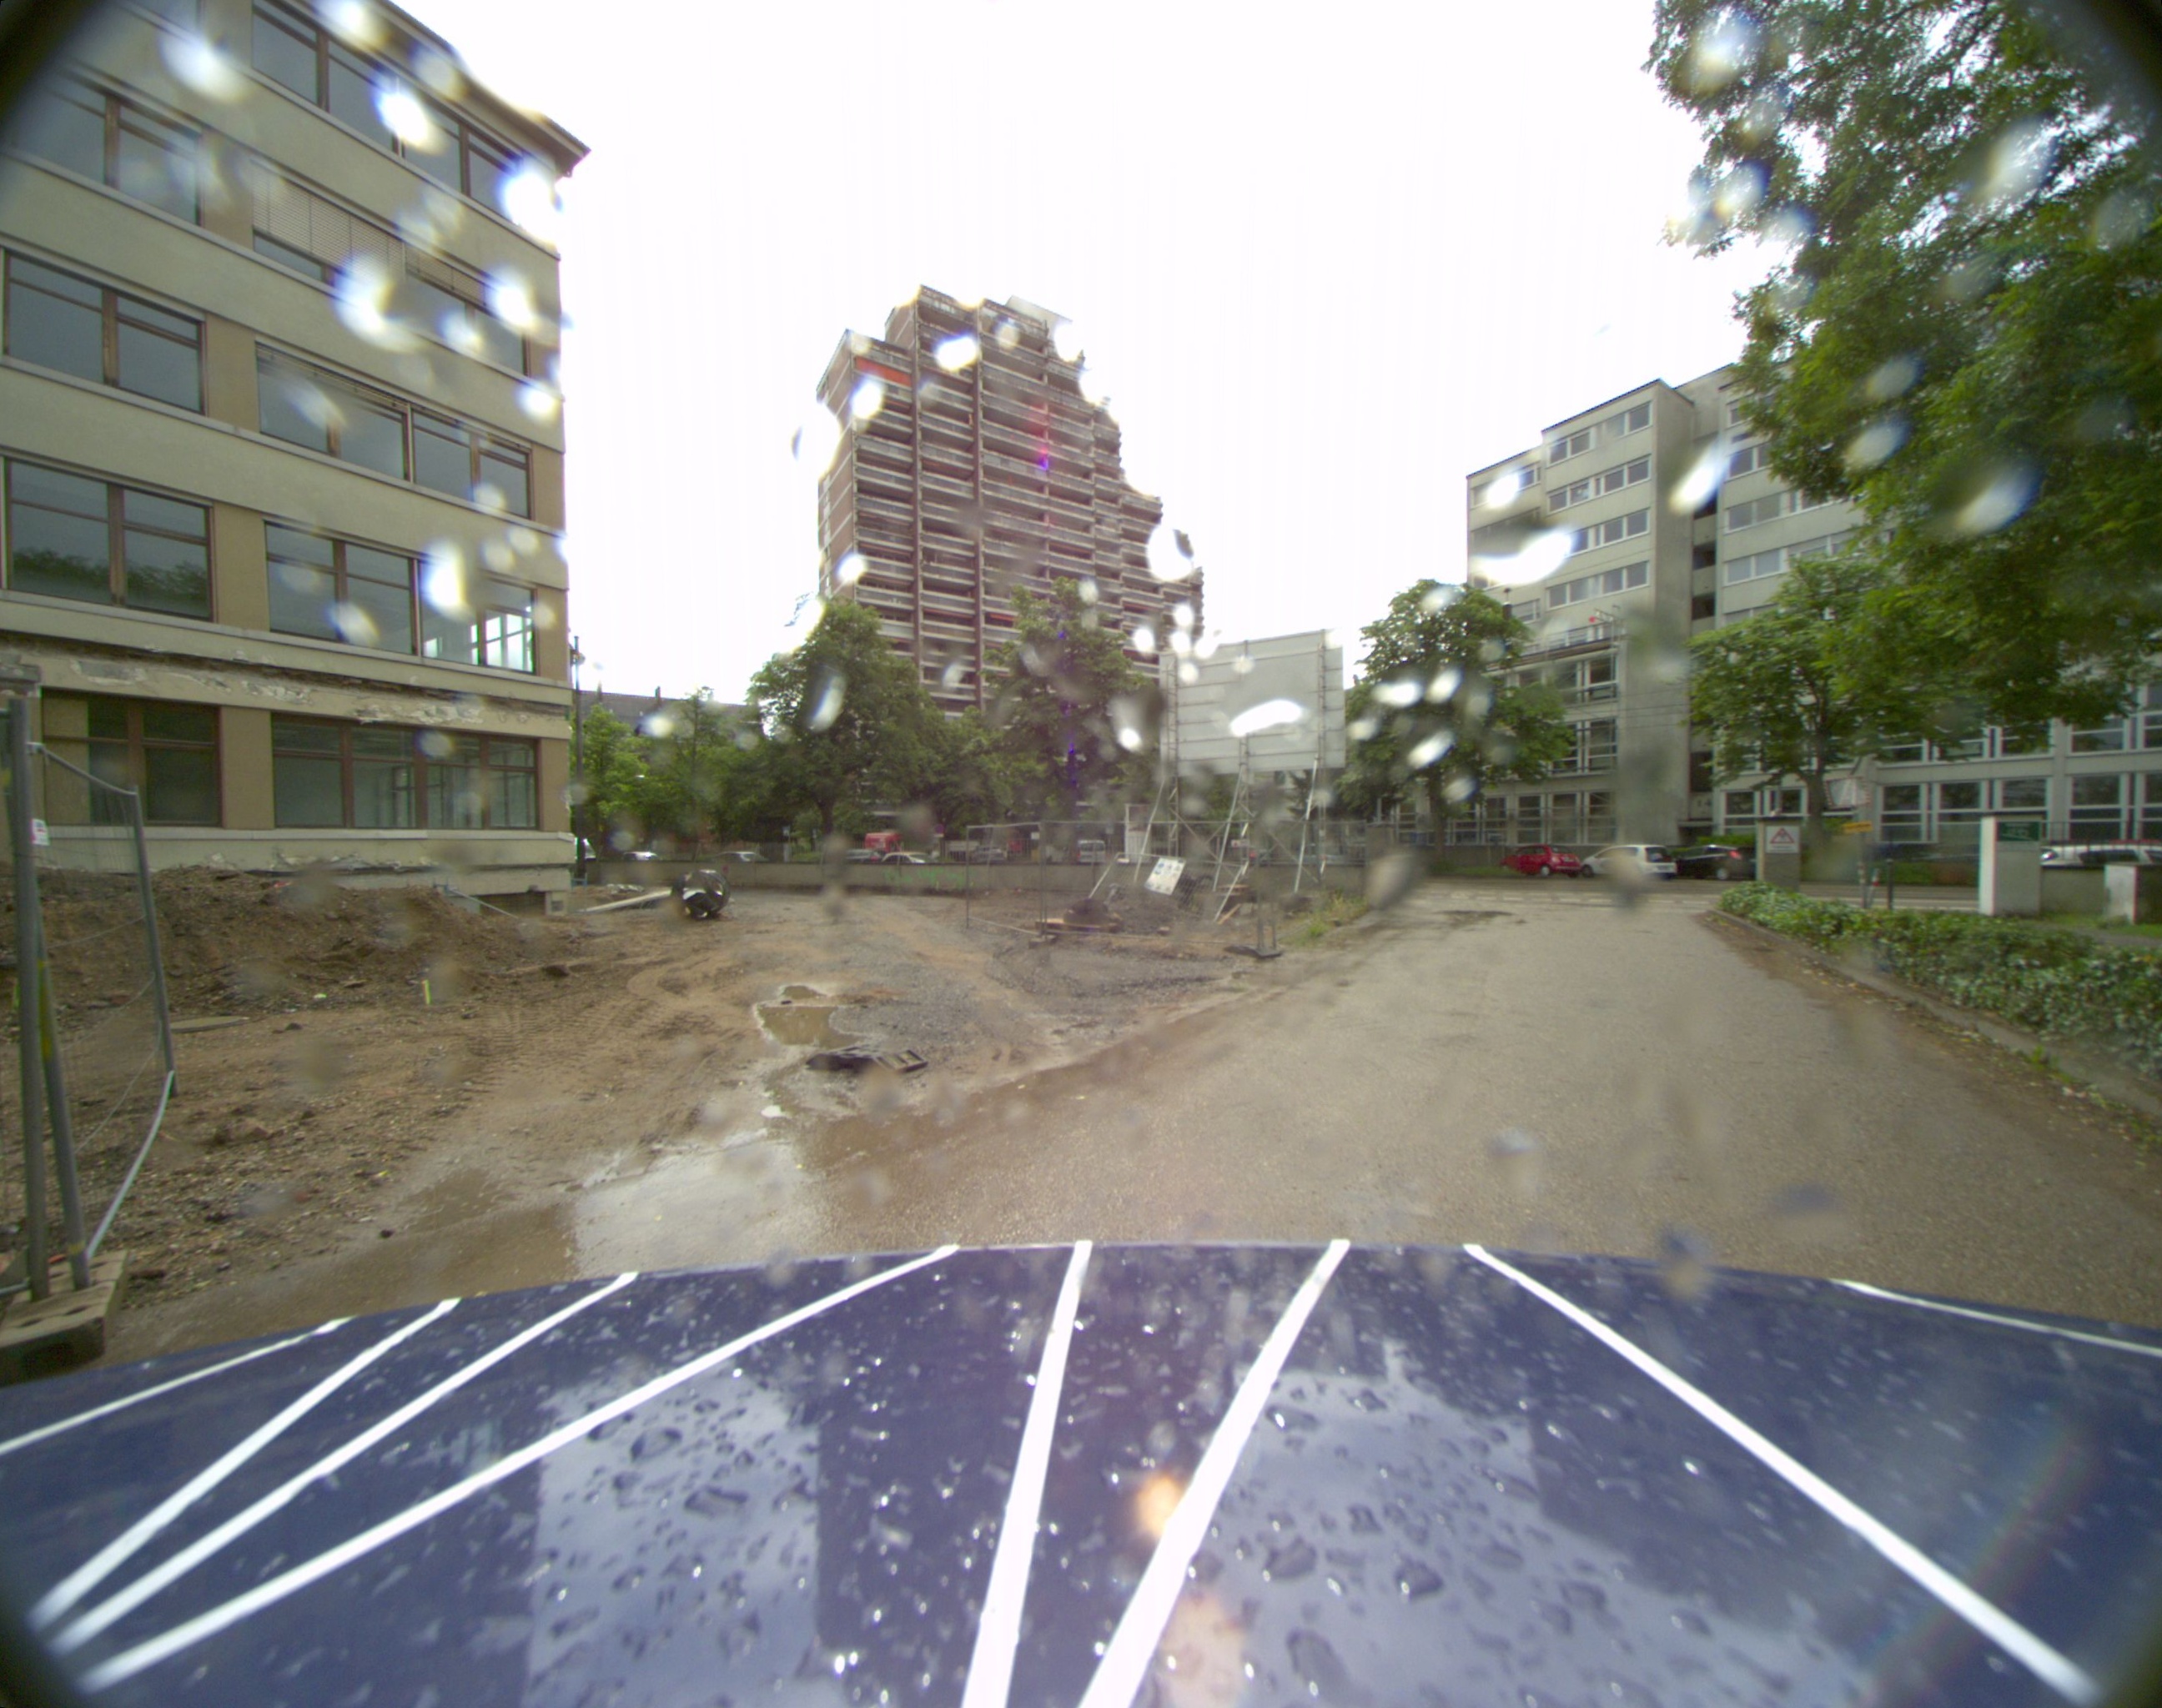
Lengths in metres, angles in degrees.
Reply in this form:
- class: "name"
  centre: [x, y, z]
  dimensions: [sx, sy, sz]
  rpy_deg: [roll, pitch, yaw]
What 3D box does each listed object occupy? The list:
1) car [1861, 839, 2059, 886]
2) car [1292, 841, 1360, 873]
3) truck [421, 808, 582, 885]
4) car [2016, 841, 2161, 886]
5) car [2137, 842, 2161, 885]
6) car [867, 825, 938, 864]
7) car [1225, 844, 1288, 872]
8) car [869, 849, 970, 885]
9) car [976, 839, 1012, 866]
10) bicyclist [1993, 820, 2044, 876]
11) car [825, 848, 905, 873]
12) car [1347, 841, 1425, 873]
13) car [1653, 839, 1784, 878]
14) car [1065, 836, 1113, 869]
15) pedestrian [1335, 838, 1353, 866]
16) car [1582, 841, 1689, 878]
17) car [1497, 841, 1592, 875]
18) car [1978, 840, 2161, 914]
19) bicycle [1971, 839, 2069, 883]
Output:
- class: "car"
  centre: [31.951, 0.329, 27.828]
  dimensions: [1.879, 1.545, 4.365]
  rpy_deg: [1, -1, -15]
- class: "car"
  centre: [12.407, 0.120, 38.764]
  dimensions: [1.709, 1.542, 3.645]
  rpy_deg: [-1, 1, -12]
- class: "truck"
  centre: [-29.600, -0.260, 38.646]
  dimensions: [9.883, 3.506, 3.250]
  rpy_deg: [-1, -1, 32]
- class: "car"
  centre: [34.683, 0.321, 25.432]
  dimensions: [1.823, 1.445, 3.877]
  rpy_deg: [0, -1, -14]
- class: "car"
  centre: [37.618, 0.287, 24.452]
  dimensions: [1.779, 1.445, 3.877]
  rpy_deg: [0, -1, -14]
- class: "car"
  centre: [-12.604, -0.648, 53.318]
  dimensions: [2.307, 2.618, 5.466]
  rpy_deg: [-1, 1, -45]
- class: "car"
  centre: [9.419, 0.173, 41.042]
  dimensions: [1.770, 1.389, 3.644]
  rpy_deg: [-1, 1, -15]
- class: "car"
  centre: [-6.885, 0.565, 32.345]
  dimensions: [3.989, 1.462, 1.894]
  rpy_deg: [-1, -1, 32]
- class: "car"
  centre: [-5.805, -0.138, 50.380]
  dimensions: [1.786, 1.557, 4.039]
  rpy_deg: [-1, 3, -14]
- class: "bicyclist"
  centre: [27.589, -0.159, 22.372]
  dimensions: [0.673, 1.608, 0.646]
  rpy_deg: [-1, 0, 8]
- class: "car"
  centre: [-13.448, 0.425, 47.234]
  dimensions: [4.750, 1.472, 2.004]
  rpy_deg: [0, 0, 30]
- class: "car"
  centre: [14.818, 0.106, 37.134]
  dimensions: [1.742, 1.461, 3.645]
  rpy_deg: [-1, 1, -13]
- class: "car"
  centre: [26.078, 0.175, 31.267]
  dimensions: [1.816, 1.472, 3.976]
  rpy_deg: [-1, 0, -7]
- class: "car"
  centre: [0.435, -0.137, 46.187]
  dimensions: [1.939, 1.886, 4.639]
  rpy_deg: [0, 1, -12]
- class: "pedestrian"
  centre: [16.521, -0.115, 47.692]
  dimensions: [0.707, 1.732, 0.838]
  rpy_deg: [-1, 0, -10]
- class: "car"
  centre: [23.396, 0.202, 32.197]
  dimensions: [1.711, 1.444, 3.404]
  rpy_deg: [-1, 1, -10]
- class: "car"
  centre: [20.858, 0.153, 34.325]
  dimensions: [1.742, 1.461, 3.403]
  rpy_deg: [0, 1, -13]
- class: "car"
  centre: [21.501, 0.453, 15.470]
  dimensions: [3.822, 1.451, 1.694]
  rpy_deg: [0, 0, 31]
- class: "bicycle"
  centre: [27.613, 0.216, 22.359]
  dimensions: [1.866, 1.258, 0.646]
  rpy_deg: [-1, 0, 8]
